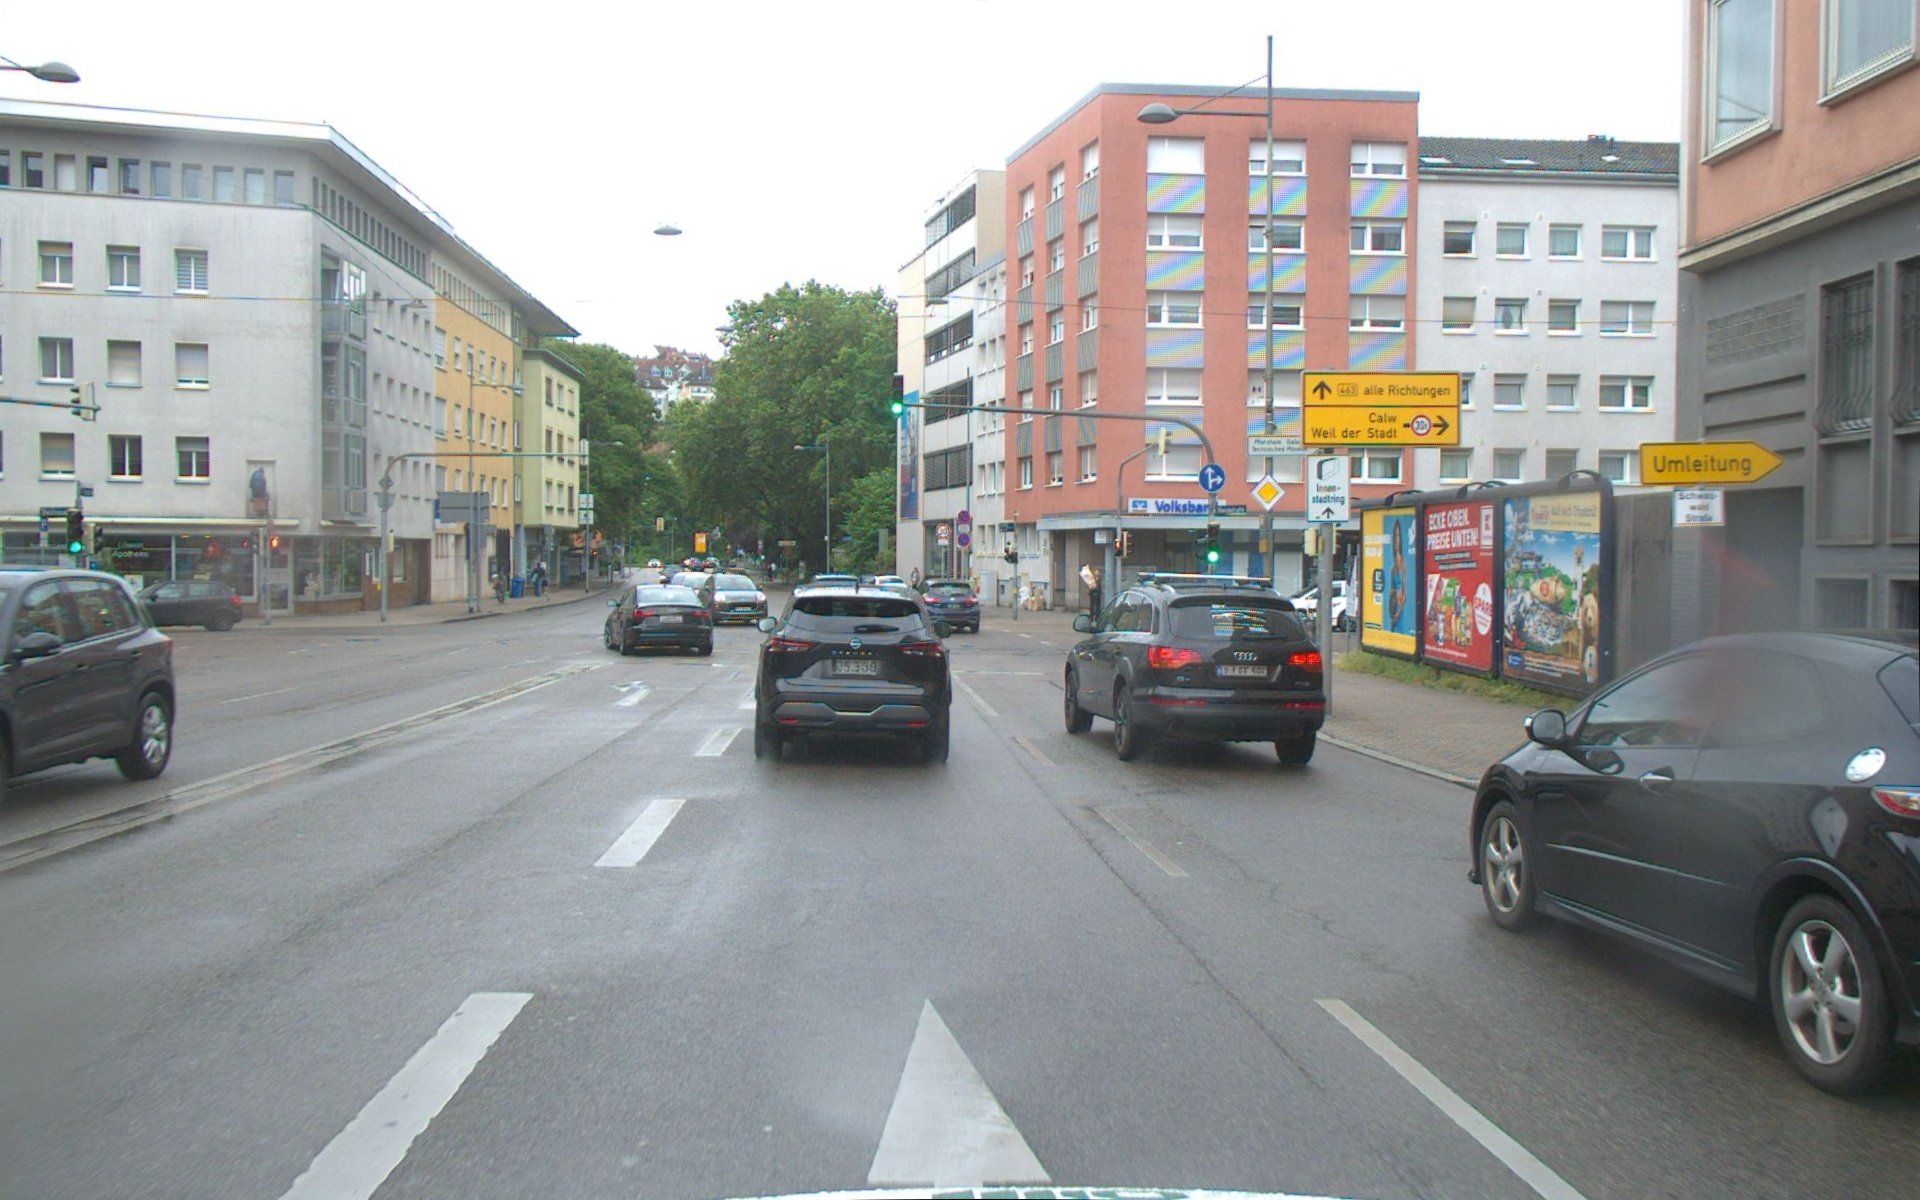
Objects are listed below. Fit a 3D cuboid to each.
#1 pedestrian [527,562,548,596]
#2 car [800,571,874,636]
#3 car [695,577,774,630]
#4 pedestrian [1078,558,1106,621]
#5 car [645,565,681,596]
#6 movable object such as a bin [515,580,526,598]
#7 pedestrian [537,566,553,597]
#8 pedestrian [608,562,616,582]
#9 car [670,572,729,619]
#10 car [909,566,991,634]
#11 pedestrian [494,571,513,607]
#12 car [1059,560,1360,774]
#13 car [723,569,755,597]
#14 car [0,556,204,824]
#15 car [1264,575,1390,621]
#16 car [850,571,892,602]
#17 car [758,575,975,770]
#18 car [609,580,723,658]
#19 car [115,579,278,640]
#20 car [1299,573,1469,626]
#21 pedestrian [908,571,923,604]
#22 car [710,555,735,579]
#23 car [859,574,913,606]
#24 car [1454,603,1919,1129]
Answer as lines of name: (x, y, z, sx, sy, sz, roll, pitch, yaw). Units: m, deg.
pedestrian: (-22.973, -1.131, 89.944, 0.849, 1.819, 0.874, 3, 1, -5)
car: (-3.519, 0.073, 46.818, 1.908, 1.714, 3.995, -2, 1, -6)
car: (-7.117, 0.070, 51.984, 1.827, 1.580, 4.207, 0, 1, -17)
pedestrian: (4.697, -0.378, 58.920, 0.809, 2.195, 0.769, 2, 1, -5)
car: (-19.519, -1.308, 108.752, 1.955, 1.892, 3.996, 2, 1, -6)
movable object such as a bin: (-22.924, -0.578, 86.328, 0.445, 0.945, 0.502, 0, 1, -4)
pedestrian: (-23.072, -1.045, 91.959, 0.784, 1.717, 0.815, 0, 1, -12)
pedestrian: (-33.316, -2.698, 158.458, 0.656, 1.822, 0.718, 2, 1, -18)
car: (-9.076, -0.158, 57.421, 1.899, 1.553, 4.124, 0, 0, -11)
car: (-0.348, -0.039, 48.469, 1.909, 1.848, 3.994, -2, 1, -7)
pedestrian: (-20.767, -0.511, 75.220, 0.673, 1.608, 0.651, 3, 1, -4)
car: (2.431, 0.594, 17.517, 1.982, 1.902, 4.893, 1, 0, -6)
car: (-14.117, -1.124, 105.718, 1.788, 1.640, 3.856, 2, 1, -11)
car: (-7.005, 0.571, 11.426, 1.825, 1.676, 4.250, -1, 1, -4)
car: (12.442, -0.078, 56.240, 3.869, 1.512, 1.701, 0, 1, -5)
car: (-4.680, -0.721, 86.562, 1.683, 1.467, 4.072, -2, 2, -10)
car: (-0.998, 0.626, 16.350, 1.858, 1.657, 3.995, 1, 0, -6)
car: (-6.312, 0.362, 35.130, 1.961, 1.412, 4.482, 2, 1, -15)
car: (-22.139, 0.241, 48.041, 3.970, 1.655, 1.670, -2, 1, -45)
car: (12.629, -0.023, 49.406, 4.562, 1.512, 1.917, 0, 1, -7)
pedestrian: (-2.377, -0.693, 88.977, 0.603, 1.767, 0.678, -2, 1, -18)
car: (-18.580, -2.588, 129.306, 1.787, 1.827, 3.858, 2, 1, -9)
car: (-3.629, -0.490, 80.155, 1.744, 1.425, 4.564, -2, 2, -13)
car: (3.553, 0.804, 6.544, 1.748, 1.523, 4.053, 1, -1, -4)
